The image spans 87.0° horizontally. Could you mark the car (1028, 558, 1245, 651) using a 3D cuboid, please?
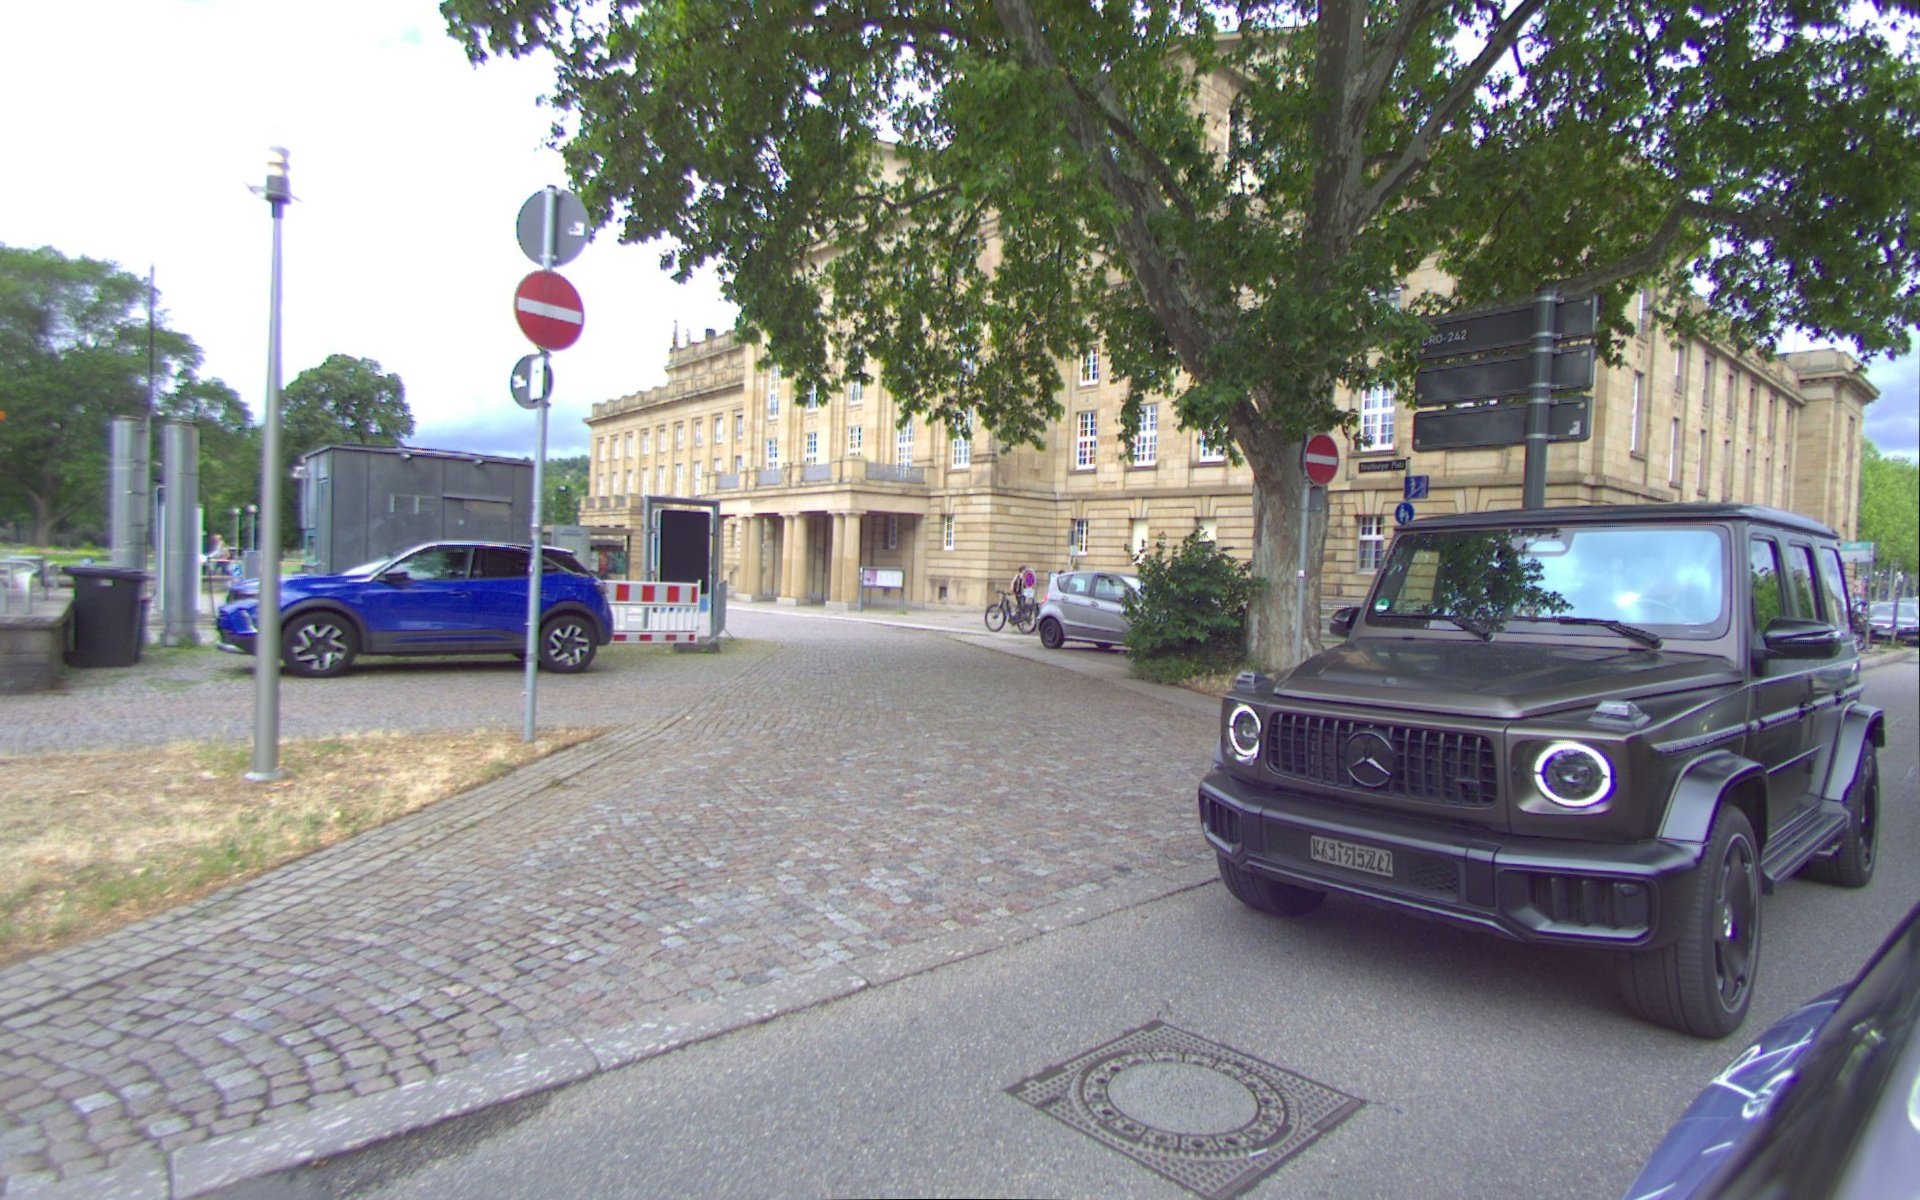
[{"bbox_3d":[3.314,0.064,19.620,1.704,1.616,3.994,0,0,-40],"label":"car"}]

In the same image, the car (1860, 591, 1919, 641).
[{"bbox_3d":[32.607,0.511,34.713,3.927,1.549,1.844,-1,3,-38],"label":"car"}]

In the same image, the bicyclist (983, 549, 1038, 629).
[{"bbox_3d":[1.325,-0.286,26.446,1.005,2.039,1.091,2,0,33],"label":"bicyclist"}]

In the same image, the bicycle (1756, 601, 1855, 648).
[{"bbox_3d":[22.000,0.625,26.357,1.912,1.112,0.533,3,2,43],"label":"bicycle"}]

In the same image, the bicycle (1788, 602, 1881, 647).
[{"bbox_3d":[23.399,0.647,27.111,1.834,1.085,0.524,3,2,42],"label":"bicycle"}]

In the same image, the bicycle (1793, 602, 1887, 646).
[{"bbox_3d":[24.086,0.637,27.733,1.826,1.085,0.526,3,1,31],"label":"bicycle"}]

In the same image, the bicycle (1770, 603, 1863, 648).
[{"bbox_3d":[22.577,0.655,26.700,1.835,1.085,0.609,3,2,43],"label":"bicycle"}]

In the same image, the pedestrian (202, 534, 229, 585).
[{"bbox_3d":[-30.483,-1.652,41.421,0.801,2.039,0.857,-1,1,-41],"label":"pedestrian"}]

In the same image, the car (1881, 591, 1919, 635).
[{"bbox_3d":[38.273,0.496,40.152,3.927,1.613,1.868,-1,3,-38],"label":"car"}]

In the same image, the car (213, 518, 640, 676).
[{"bbox_3d":[-6.109,-0.011,11.818,4.139,1.537,1.769,2,1,-38],"label":"car"}]

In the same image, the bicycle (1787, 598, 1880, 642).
[{"bbox_3d":[24.981,0.549,28.982,1.922,1.146,0.535,3,1,31],"label":"bicycle"}]

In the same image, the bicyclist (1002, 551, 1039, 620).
[{"bbox_3d":[1.830,-0.424,30.538,0.869,2.039,0.837,0,0,24],"label":"bicyclist"}]

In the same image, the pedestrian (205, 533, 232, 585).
[{"bbox_3d":[-29.779,-1.649,40.648,0.802,2.039,0.766,-1,1,-42],"label":"pedestrian"}]

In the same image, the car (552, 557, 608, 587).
[{"bbox_3d":[-22.803,-1.649,60.678,1.964,1.738,3.995,-1,0,-39],"label":"car"}]

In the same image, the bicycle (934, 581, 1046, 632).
[{"bbox_3d":[0.771,0.142,26.760,2.825,1.199,1.084,2,2,34],"label":"bicycle"}]

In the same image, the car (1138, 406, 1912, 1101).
[{"bbox_3d":[3.134,0.396,5.080,4.626,1.917,1.981,-1,0,-41],"label":"car"}]
